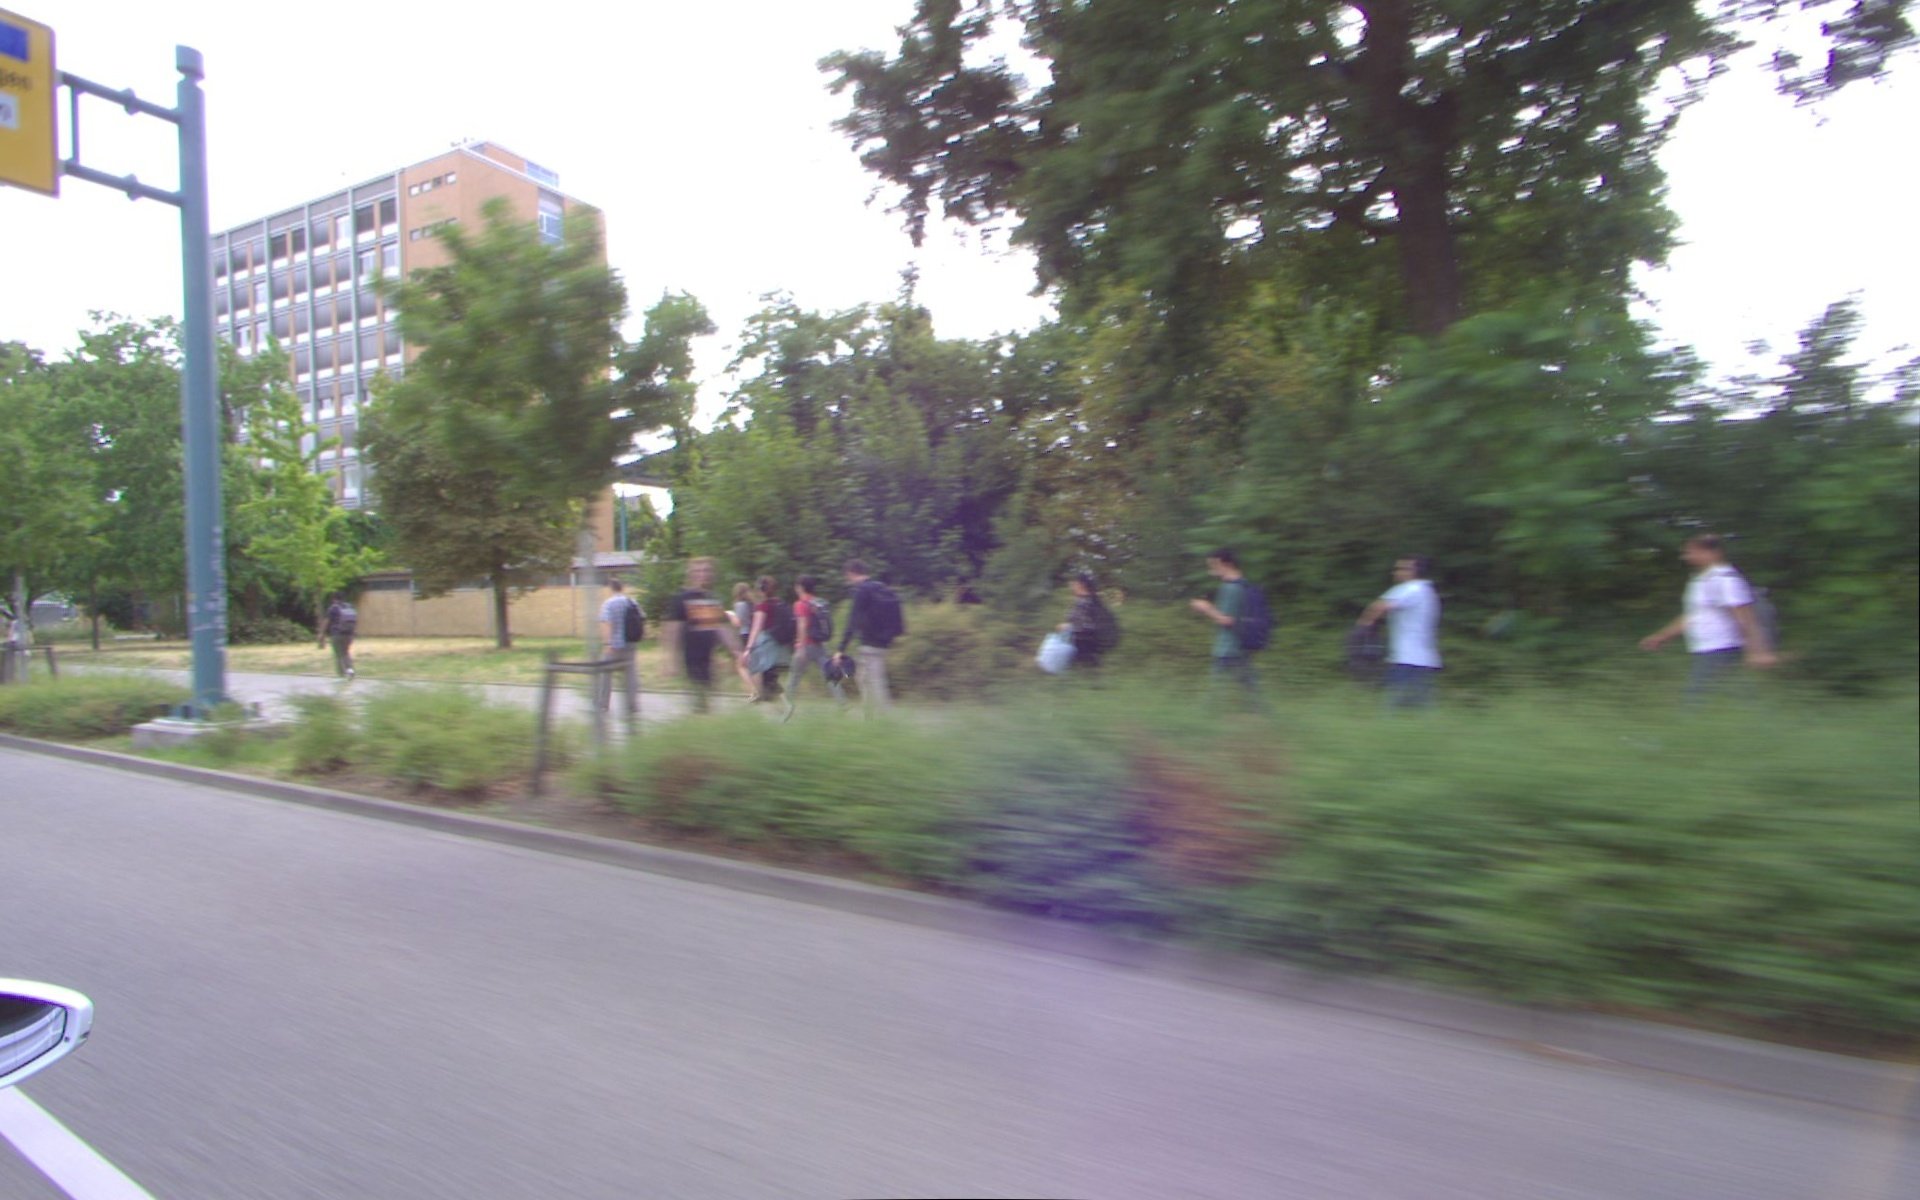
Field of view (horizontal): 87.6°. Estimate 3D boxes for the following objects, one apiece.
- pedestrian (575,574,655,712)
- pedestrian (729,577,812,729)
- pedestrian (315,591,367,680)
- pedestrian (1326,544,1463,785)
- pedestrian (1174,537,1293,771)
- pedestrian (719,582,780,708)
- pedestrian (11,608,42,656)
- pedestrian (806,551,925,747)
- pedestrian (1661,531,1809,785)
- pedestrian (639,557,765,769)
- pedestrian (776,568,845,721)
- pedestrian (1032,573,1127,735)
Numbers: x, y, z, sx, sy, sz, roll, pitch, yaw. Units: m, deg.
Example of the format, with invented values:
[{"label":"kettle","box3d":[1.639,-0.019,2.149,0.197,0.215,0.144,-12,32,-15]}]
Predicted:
[{"label":"pedestrian","box3d":[-4.576,0.551,13.296,0.803,1.759,0.617,0,1,33]},{"label":"pedestrian","box3d":[-2.166,0.581,11.457,0.743,1.677,0.554,0,1,33]},{"label":"pedestrian","box3d":[-12.131,0.675,19.637,0.738,1.705,0.586,0,1,33]},{"label":"pedestrian","box3d":[3.161,0.436,7.272,0.801,1.624,0.773,0,1,33]},{"label":"pedestrian","box3d":[2.289,0.427,8.364,0.801,1.846,0.654,0,1,33]},{"label":"pedestrian","box3d":[-2.837,0.590,13.515,0.644,1.655,0.466,0,1,33]},{"label":"pedestrian","box3d":[-29.079,0.988,31.192,0.652,1.490,0.557,-1,1,-40]},{"label":"pedestrian","box3d":[-0.936,0.460,9.949,0.941,1.846,0.691,0,1,33]},{"label":"pedestrian","box3d":[5.739,0.404,7.470,0.801,1.768,0.719,0,1,33]},{"label":"pedestrian","box3d":[-2.419,0.551,9.370,0.923,1.855,0.882,-1,1,-30]},{"label":"pedestrian","box3d":[-1.800,0.516,12.063,0.654,1.787,0.483,0,1,33]},{"label":"pedestrian","box3d":[1.244,0.537,10.411,0.774,1.605,0.634,0,1,33]}]
